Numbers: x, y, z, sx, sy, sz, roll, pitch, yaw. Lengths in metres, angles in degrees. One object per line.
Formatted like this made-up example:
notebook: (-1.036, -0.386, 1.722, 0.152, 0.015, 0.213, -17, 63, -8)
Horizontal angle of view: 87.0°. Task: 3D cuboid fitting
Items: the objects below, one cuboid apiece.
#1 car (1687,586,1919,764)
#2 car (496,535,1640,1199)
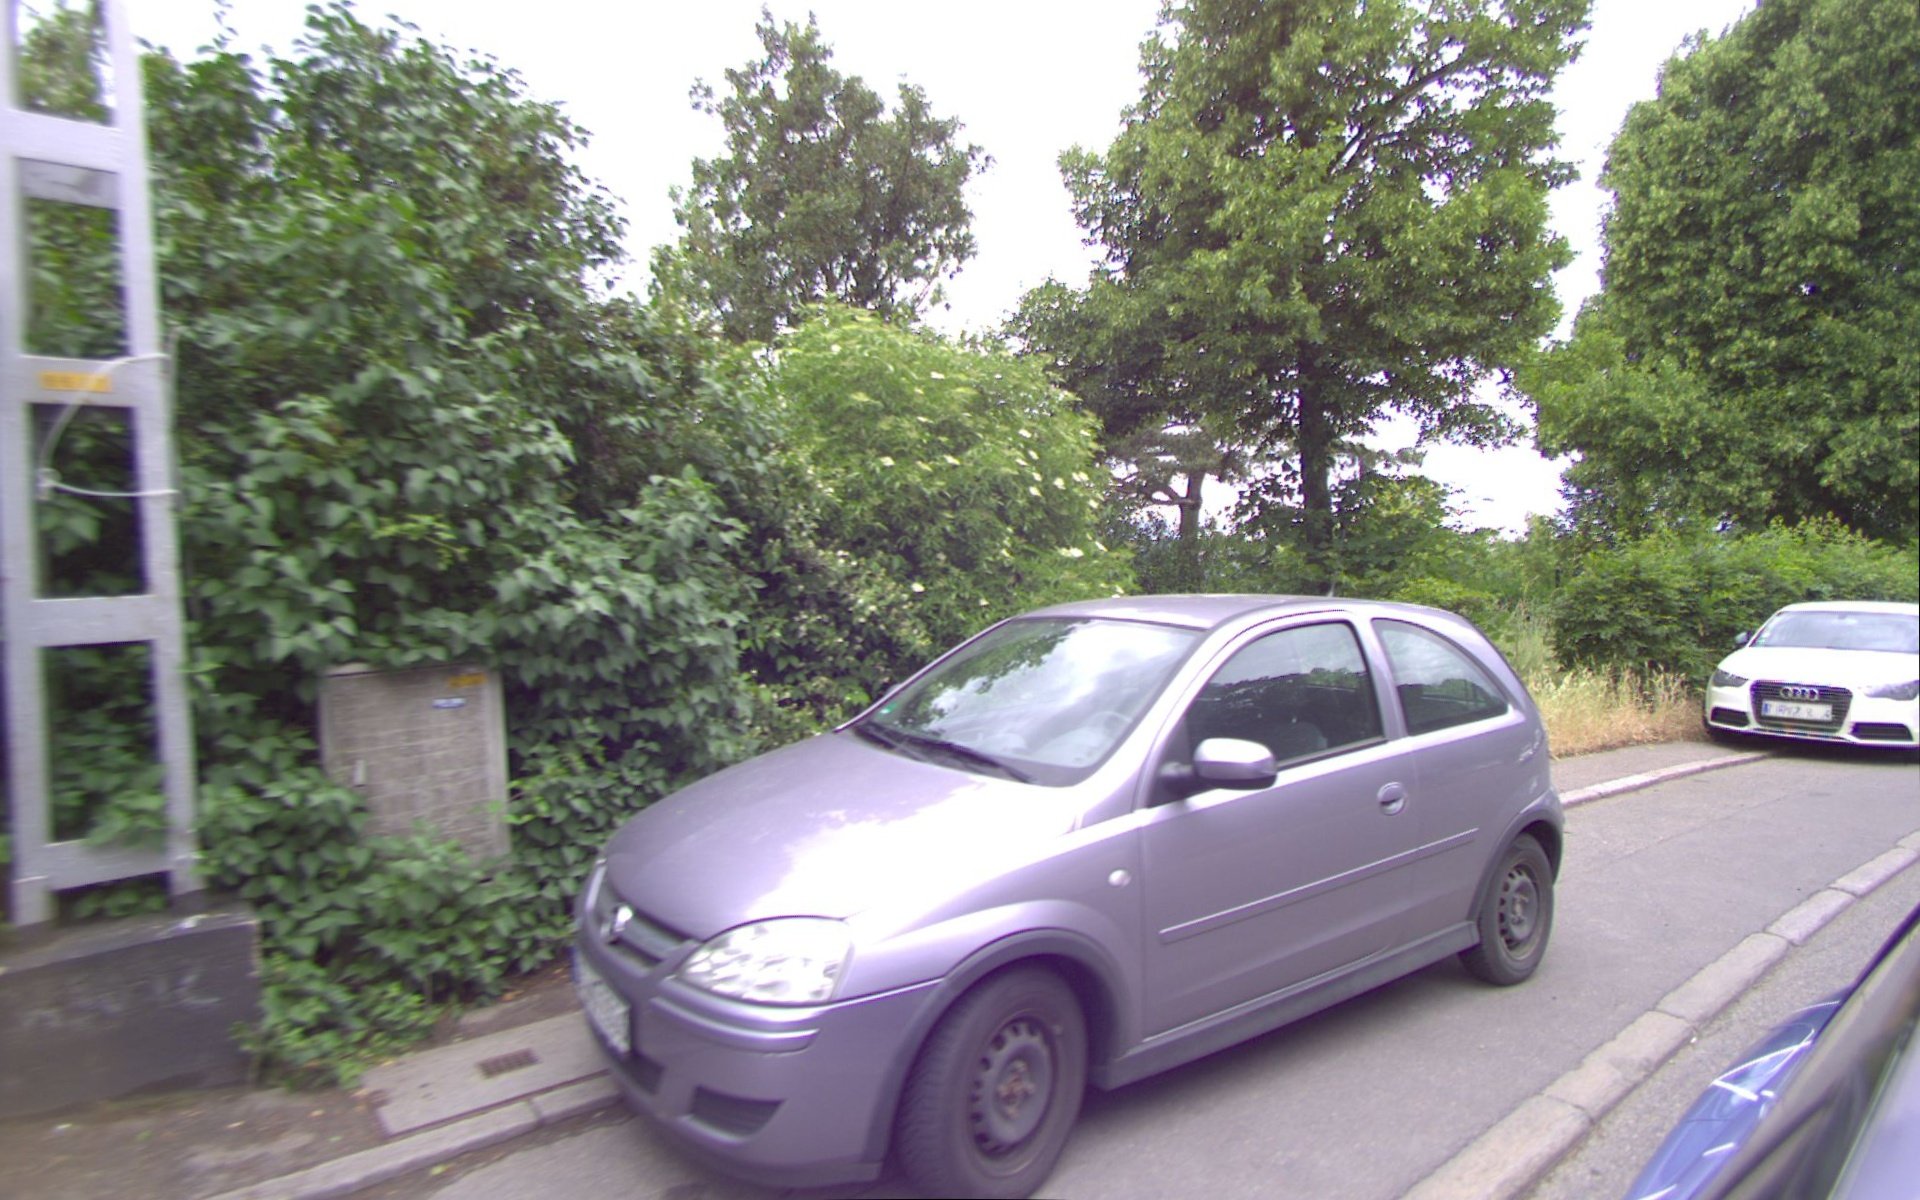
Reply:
car: (9.107, 0.606, 10.225, 3.926, 1.436, 1.782, 0, 2, -37)
car: (0.624, 0.614, 3.600, 3.923, 1.482, 1.646, -1, 0, -34)
